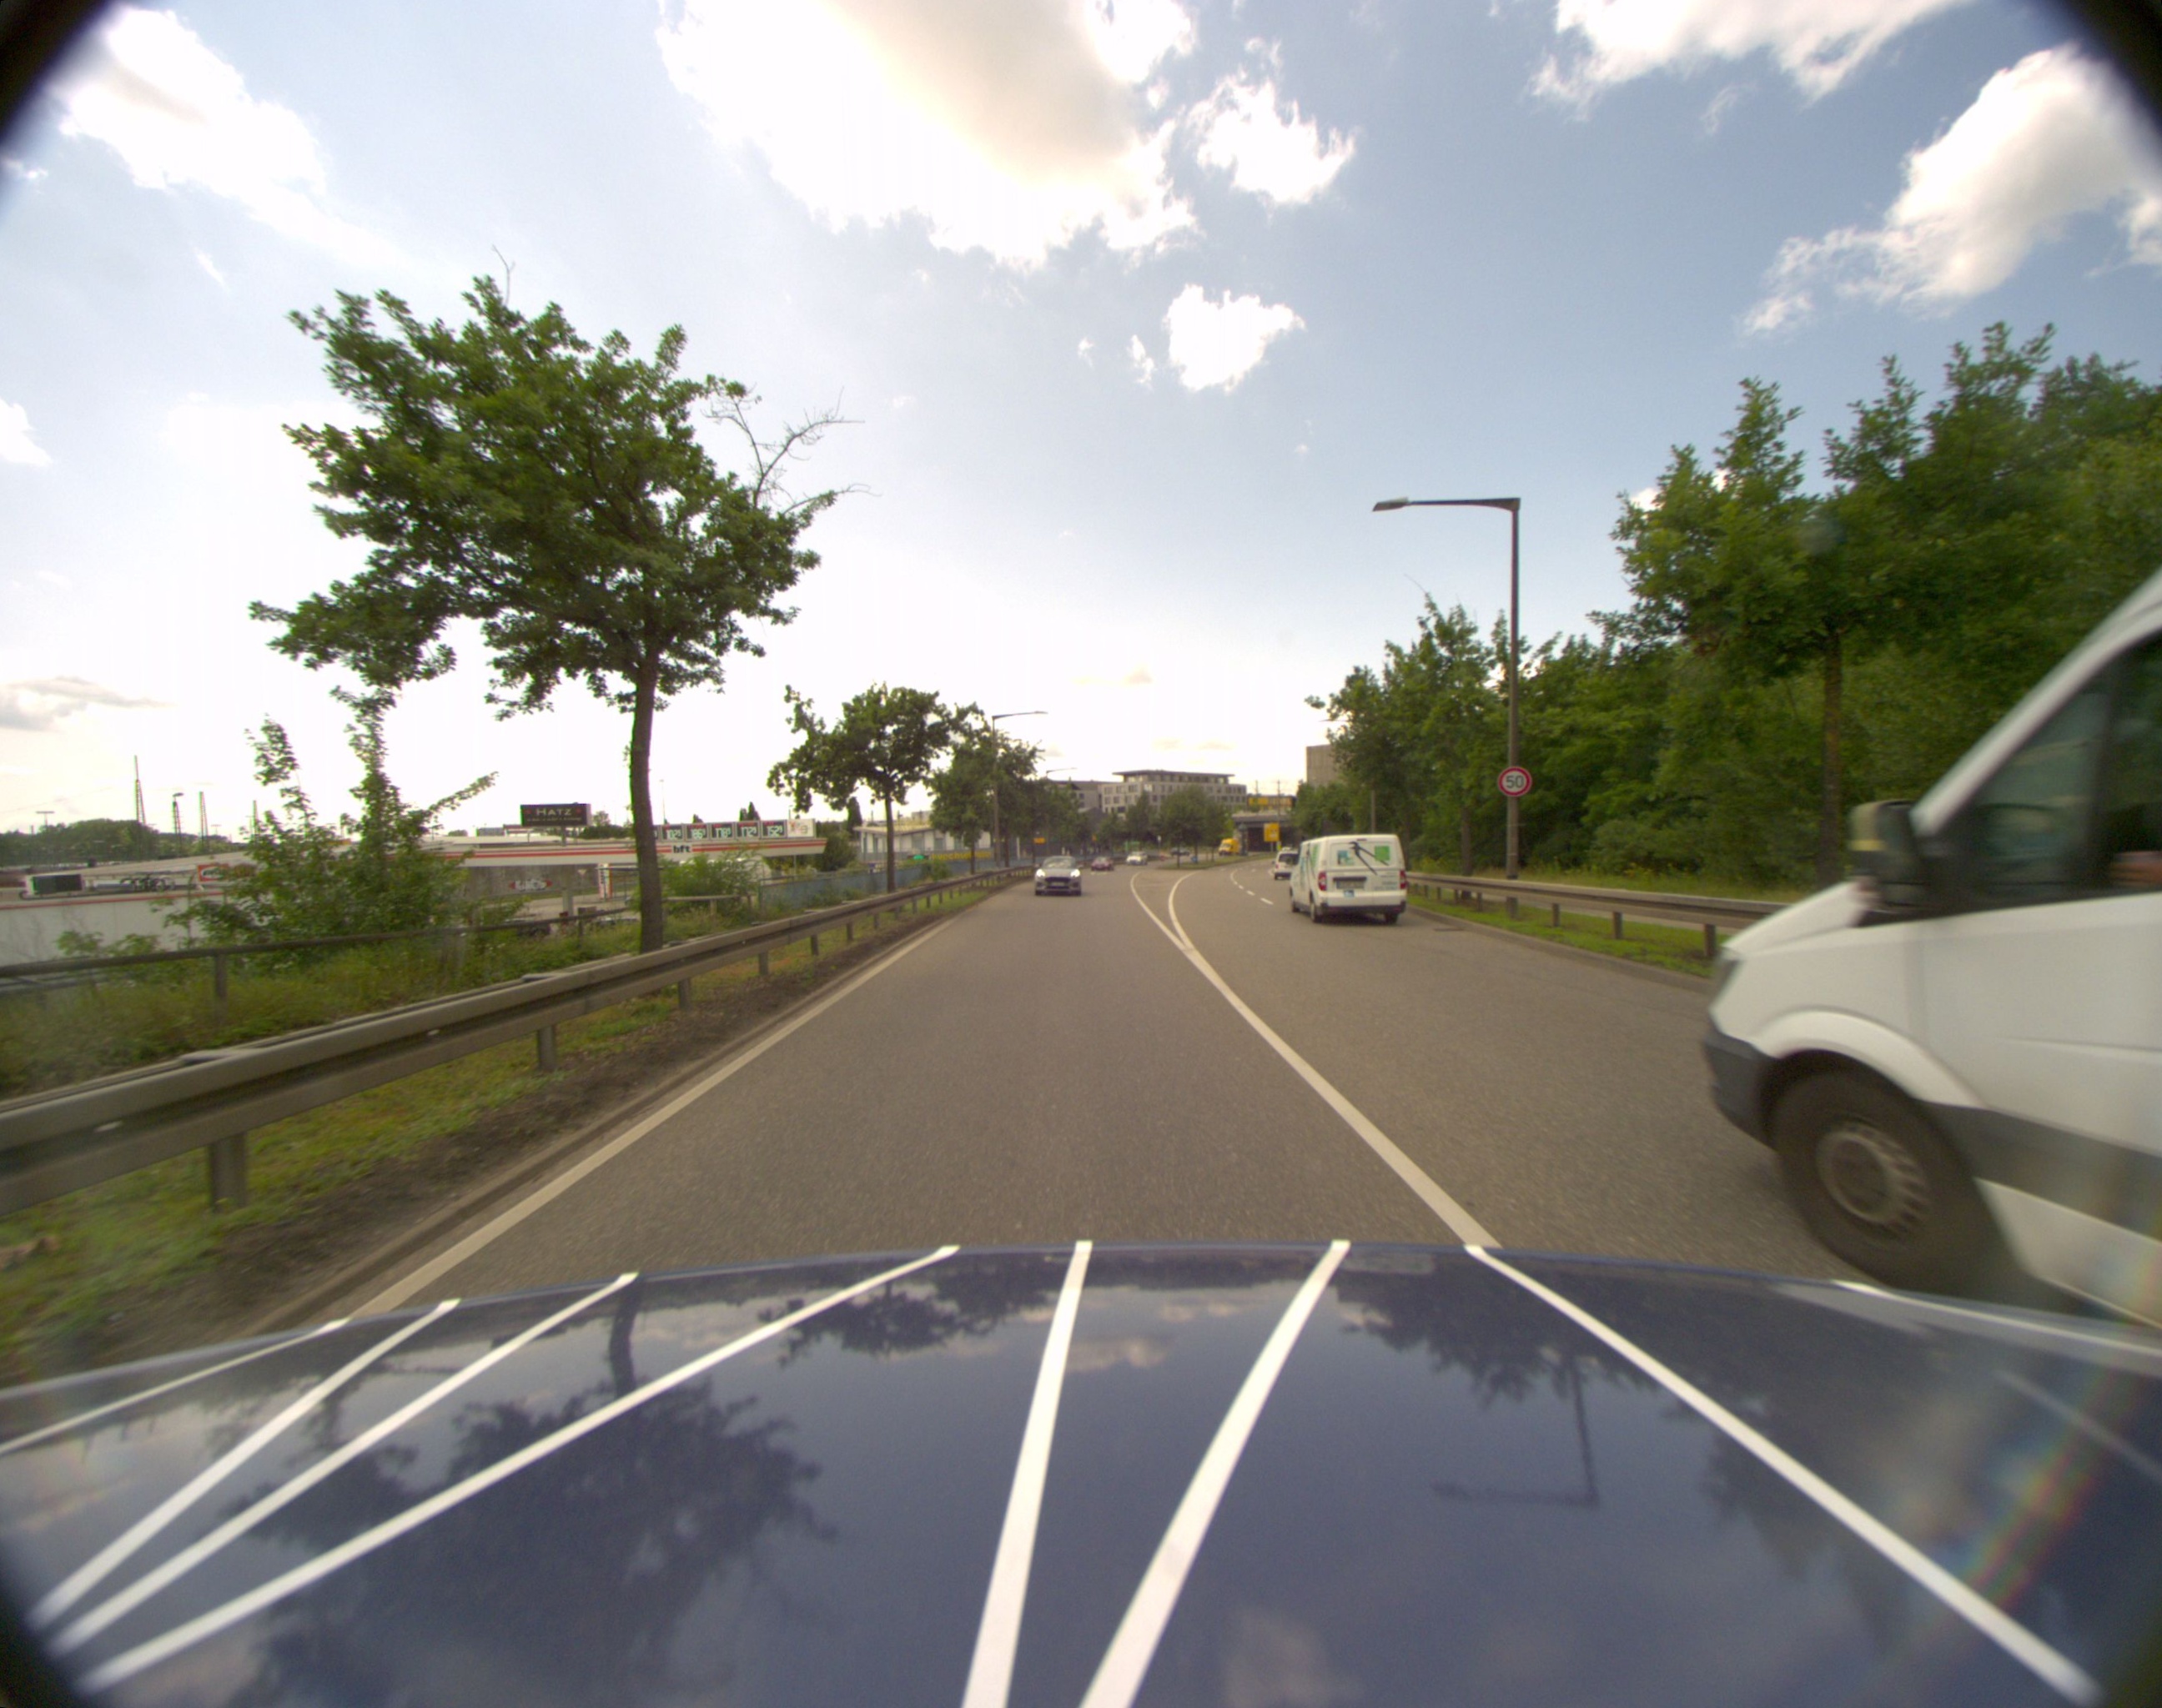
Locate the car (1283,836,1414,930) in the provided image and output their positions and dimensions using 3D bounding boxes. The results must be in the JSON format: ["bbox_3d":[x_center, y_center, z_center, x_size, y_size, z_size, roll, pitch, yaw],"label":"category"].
[{"bbox_3d":[6.011,0.579,17.739,1.779,1.856,5.269,-1,0,7],"label":"car"}]

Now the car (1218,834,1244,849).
[{"bbox_3d":[25.684,-2.136,130.314,1.995,2.306,4.896,-2,1,42],"label":"car"}]

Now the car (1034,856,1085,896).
[{"bbox_3d":[-0.812,0.850,30.773,1.827,1.516,4.000,1,0,1],"label":"car"}]

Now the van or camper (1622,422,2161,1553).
[{"bbox_3d":[3.378,0.291,0.466,1.998,2.567,5.982,-2,0,3],"label":"van or camper"}]

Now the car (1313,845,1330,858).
[{"bbox_3d":[39.858,-0.470,125.839,1.974,2.002,4.007,2,2,25],"label":"car"}]

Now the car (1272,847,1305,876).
[{"bbox_3d":[13.517,0.464,49.708,1.777,1.852,4.129,0,0,11],"label":"car"}]

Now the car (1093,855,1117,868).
[{"bbox_3d":[2.271,0.675,71.126,1.846,1.201,4.002,0,0,8],"label":"car"}]

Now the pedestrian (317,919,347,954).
[{"bbox_3d":[-41.606,4.580,42.208,0.819,1.848,0.753,-1,4,15],"label":"pedestrian"}]

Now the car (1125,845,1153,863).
[{"bbox_3d":[7.079,-0.010,92.331,1.995,2.002,4.006,2,2,24],"label":"car"}]
